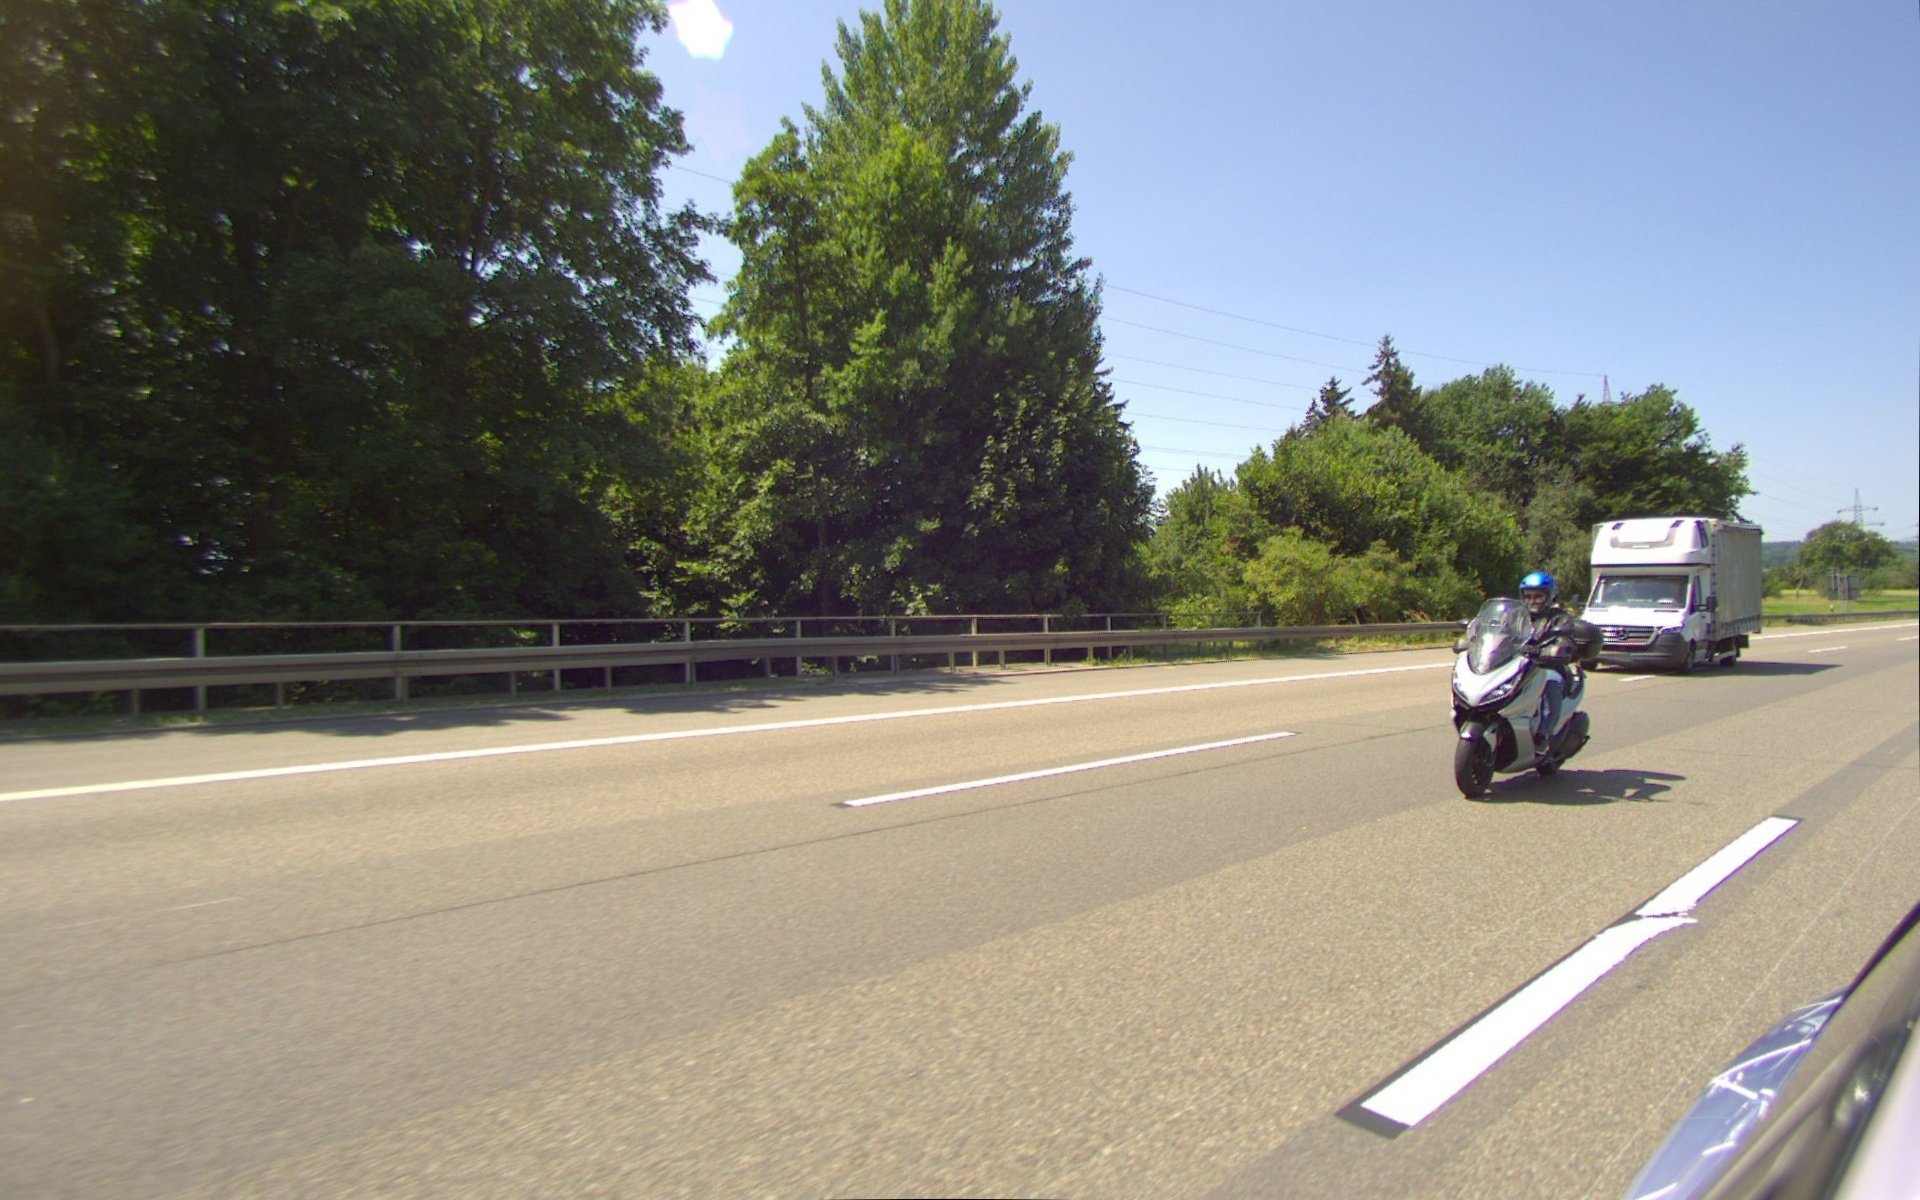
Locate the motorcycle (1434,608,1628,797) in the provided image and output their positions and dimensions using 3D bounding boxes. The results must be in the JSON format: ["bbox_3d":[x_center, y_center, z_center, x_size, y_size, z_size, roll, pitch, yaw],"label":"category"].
[{"bbox_3d":[4.564,0.730,8.007,2.272,1.303,0.630,1,-2,-42],"label":"motorcycle"}]

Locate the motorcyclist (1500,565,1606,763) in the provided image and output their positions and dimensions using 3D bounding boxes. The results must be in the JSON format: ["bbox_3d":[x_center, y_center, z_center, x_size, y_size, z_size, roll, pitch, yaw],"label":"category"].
[{"bbox_3d":[4.815,0.492,8.229,0.504,1.527,0.613,0,-1,-41],"label":"motorcyclist"}]

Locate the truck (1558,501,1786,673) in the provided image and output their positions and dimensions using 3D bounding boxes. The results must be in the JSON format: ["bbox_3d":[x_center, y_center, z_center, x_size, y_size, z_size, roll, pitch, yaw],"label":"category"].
[{"bbox_3d":[16.486,-0.287,23.156,7.967,3.328,2.510,0,1,-42],"label":"truck"}]
